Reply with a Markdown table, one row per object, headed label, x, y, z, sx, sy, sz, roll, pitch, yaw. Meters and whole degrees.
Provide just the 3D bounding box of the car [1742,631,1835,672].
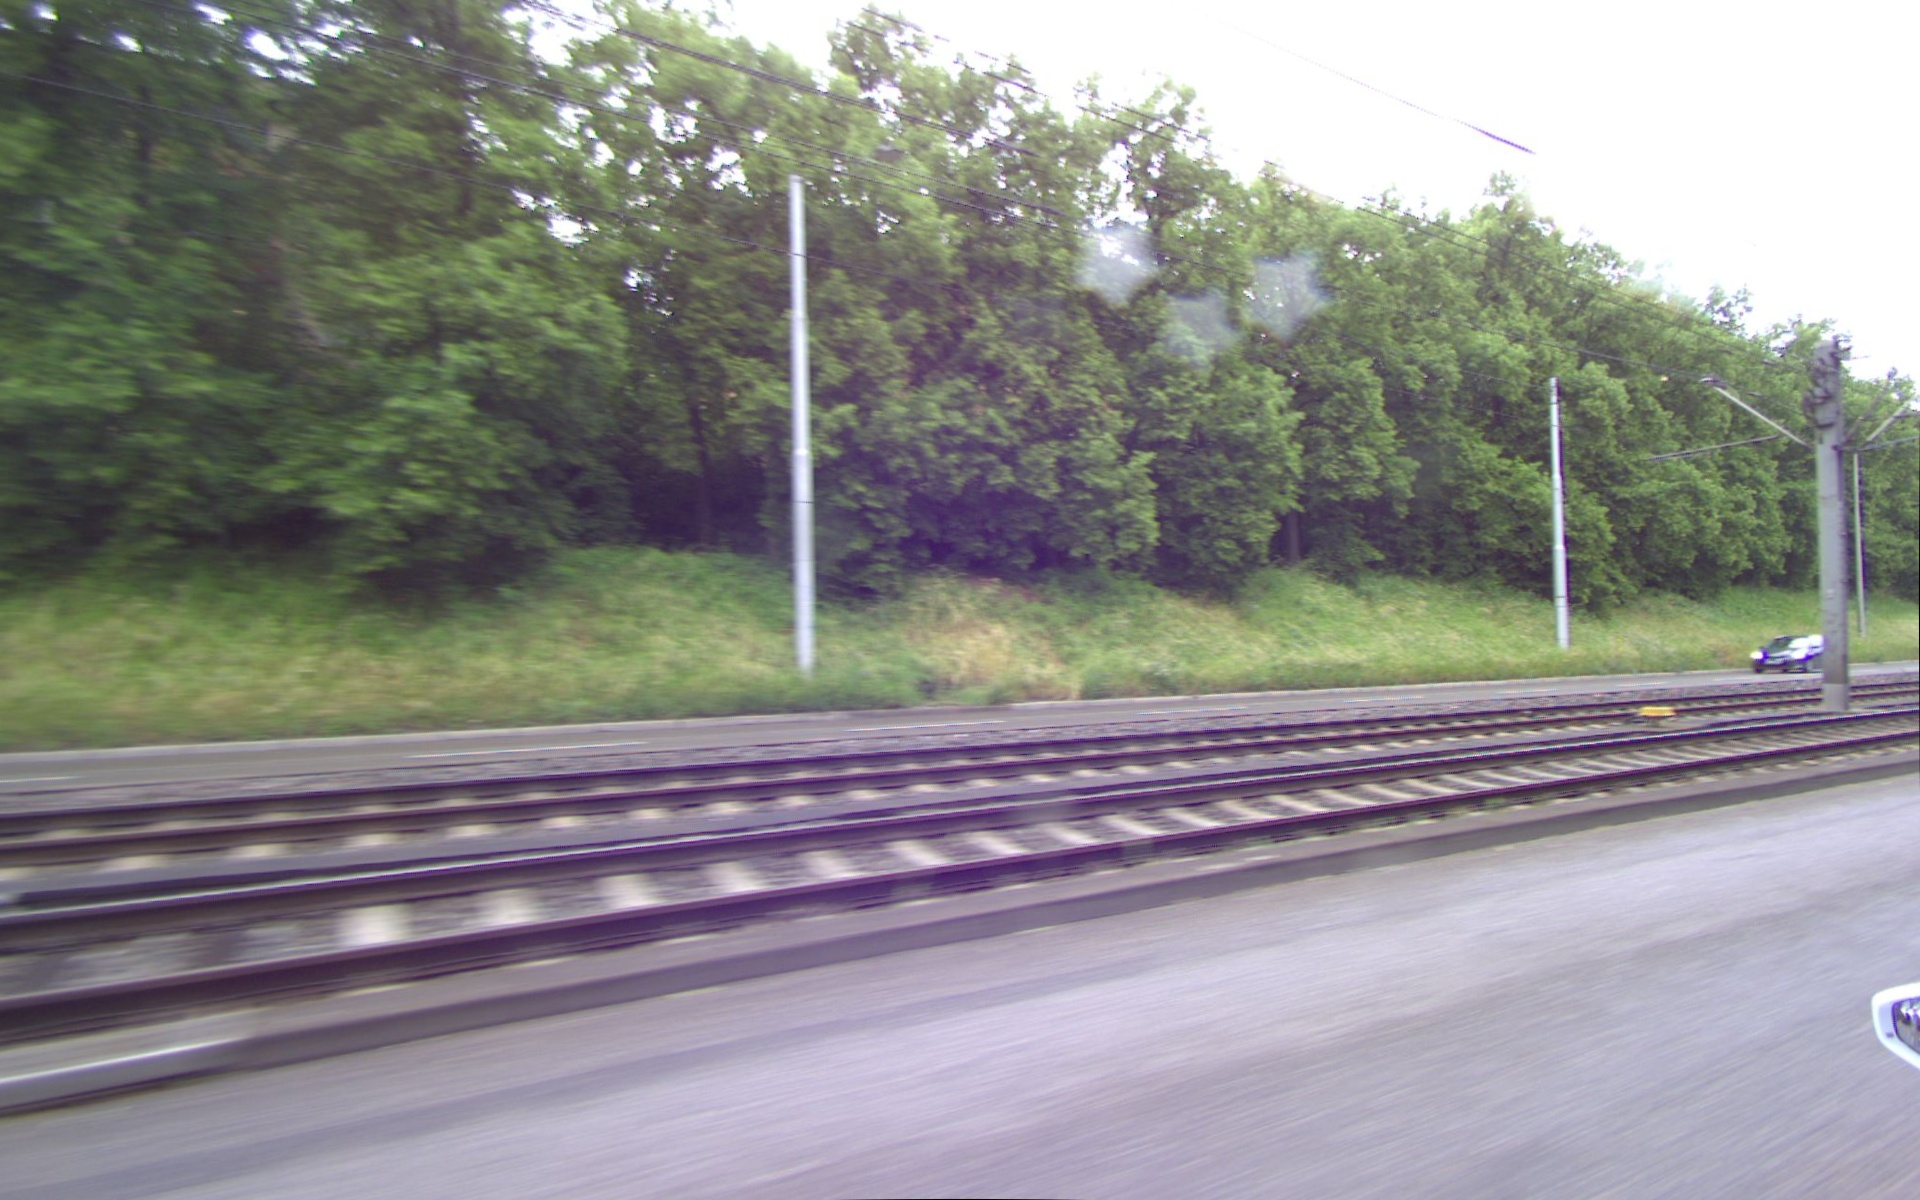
| label | x | y | z | sx | sy | sz | roll | pitch | yaw |
| --- | --- | --- | --- | --- | --- | --- | --- | --- | --- |
| car | 33.002 | 2.047 | 40.004 | 3.919 | 1.572 | 1.774 | 1 | -3 | -34 |
